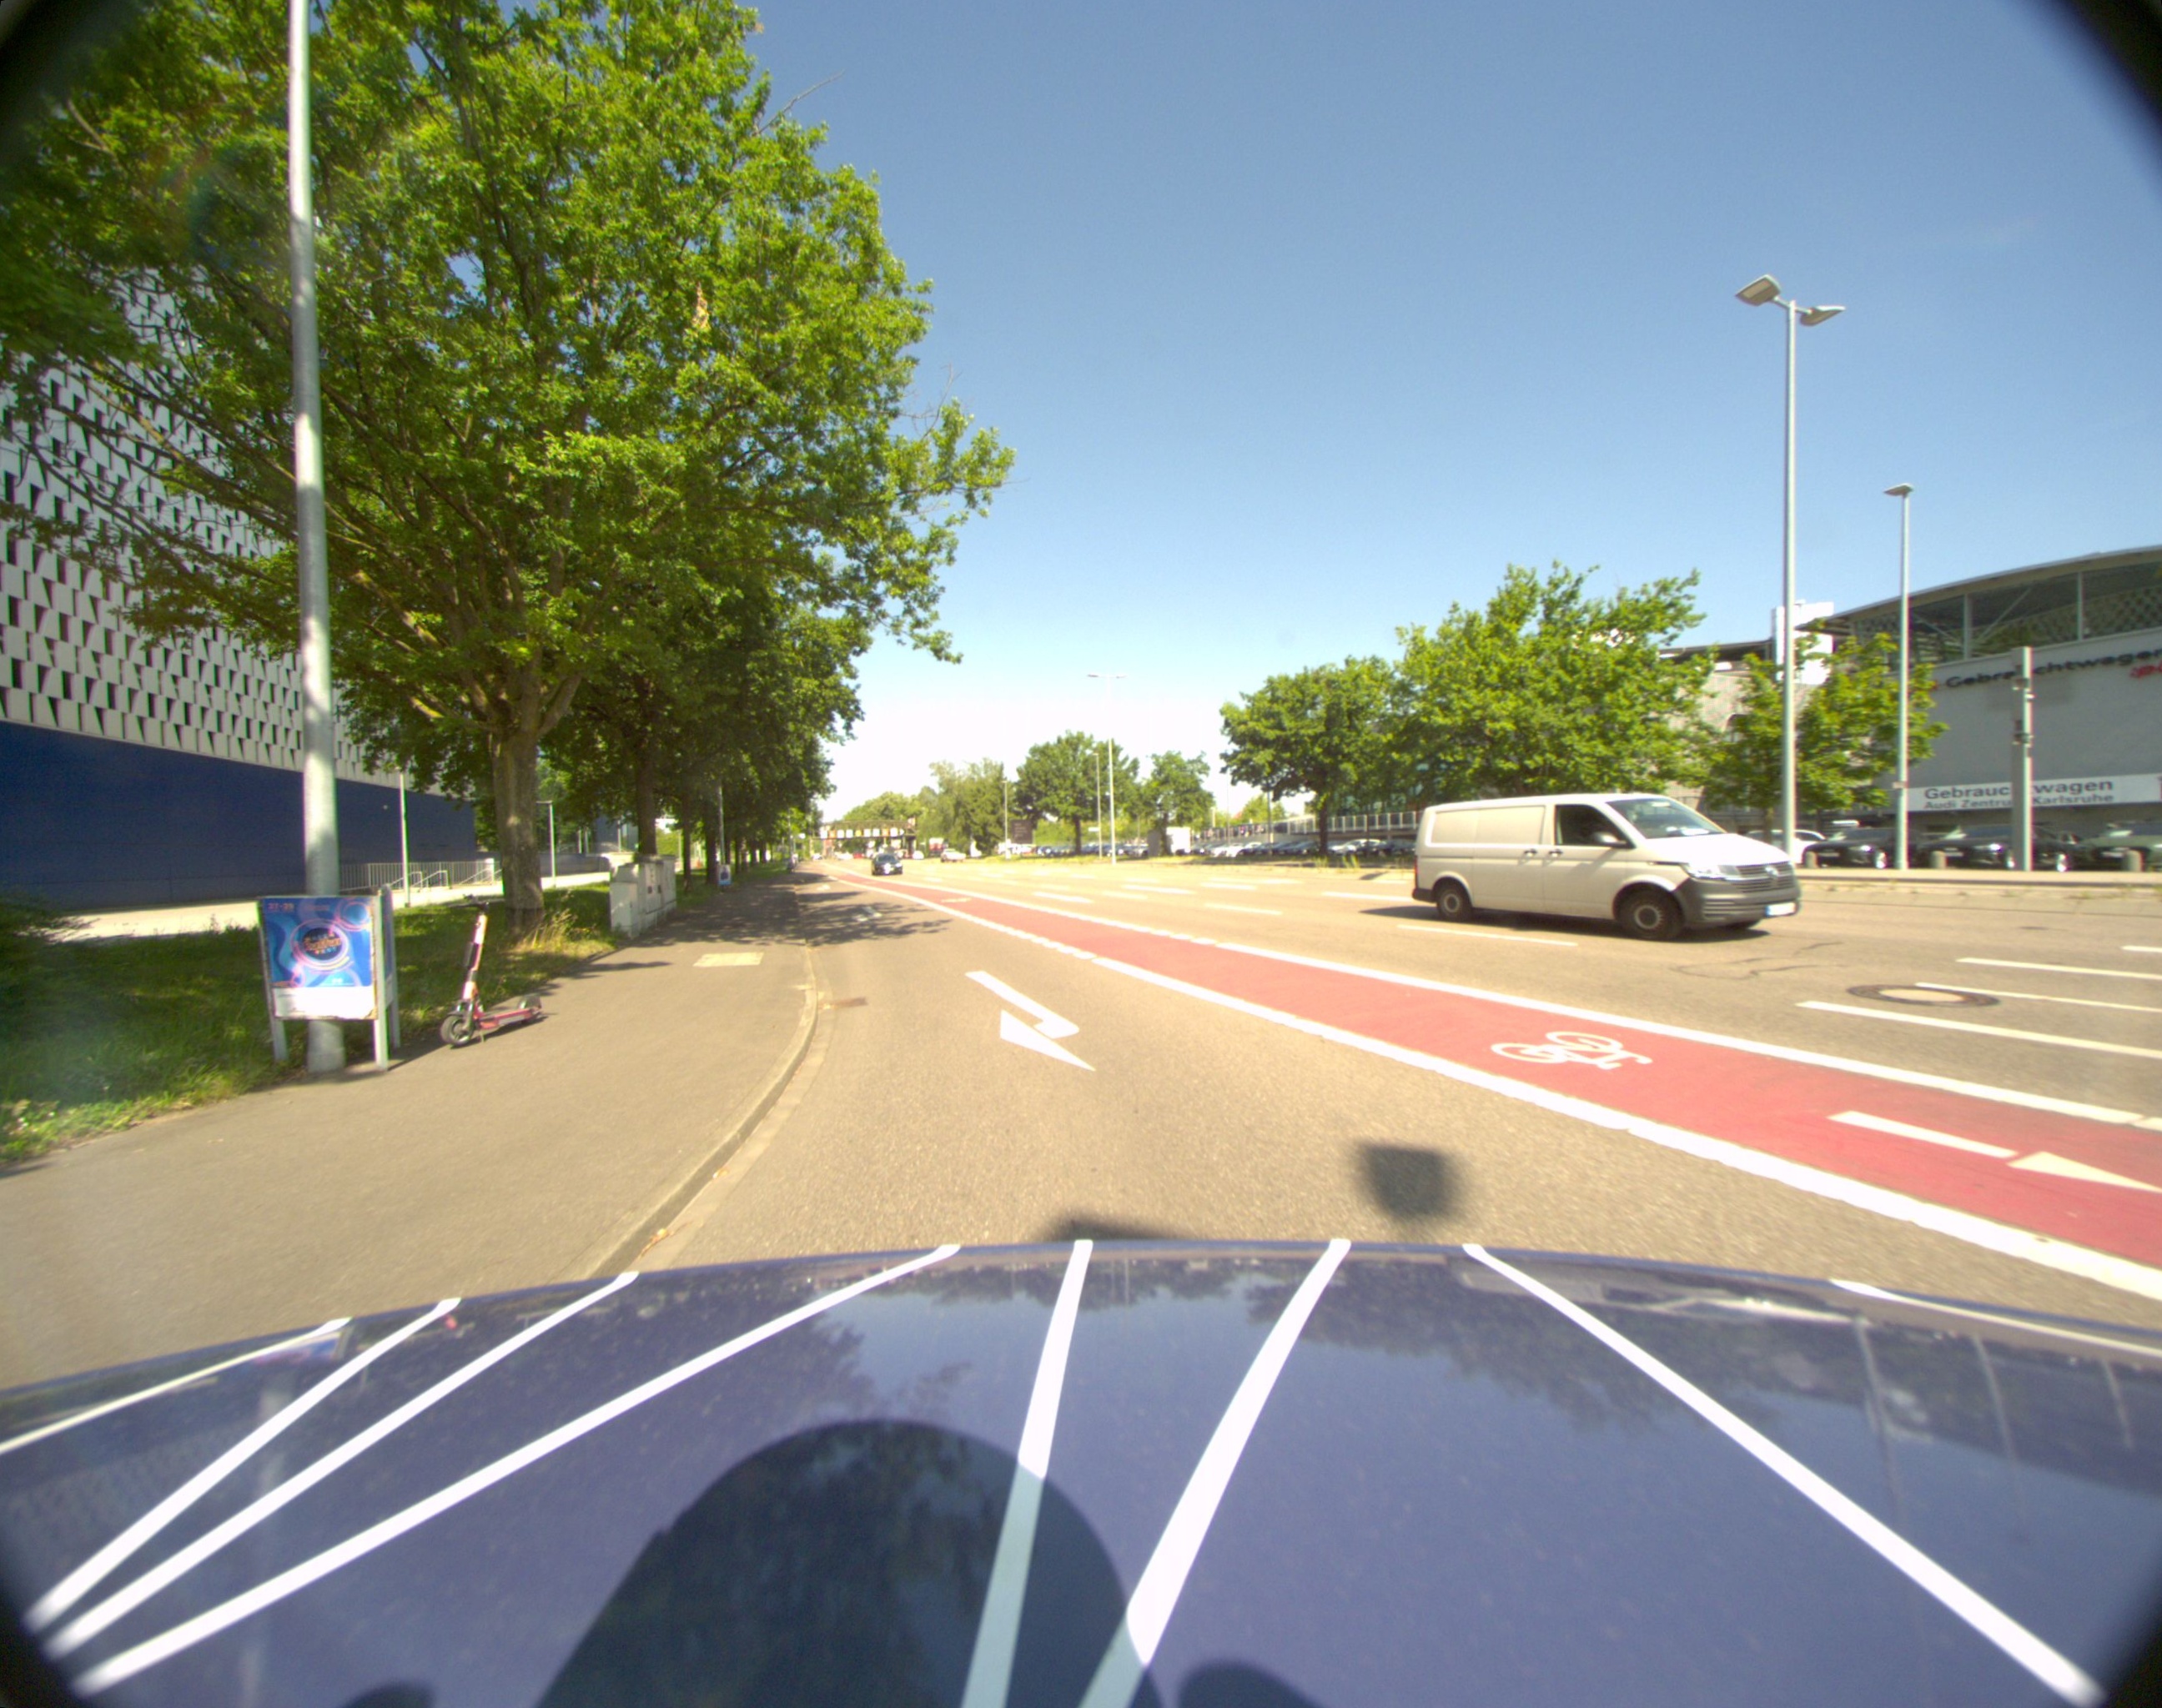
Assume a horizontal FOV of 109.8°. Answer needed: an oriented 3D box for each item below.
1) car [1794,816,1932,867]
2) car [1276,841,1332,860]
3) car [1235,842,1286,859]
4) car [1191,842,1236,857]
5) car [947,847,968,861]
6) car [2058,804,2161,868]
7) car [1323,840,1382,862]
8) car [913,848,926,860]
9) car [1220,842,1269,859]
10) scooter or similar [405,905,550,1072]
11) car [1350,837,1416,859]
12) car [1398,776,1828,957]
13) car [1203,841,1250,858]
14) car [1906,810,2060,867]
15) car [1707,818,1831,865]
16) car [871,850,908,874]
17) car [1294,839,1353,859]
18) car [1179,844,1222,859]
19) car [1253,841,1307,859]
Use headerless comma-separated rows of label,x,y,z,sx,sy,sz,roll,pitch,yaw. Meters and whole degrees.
car,25.538,-0.411,24.819,3.892,1.564,1.783,-1,1,-22
car,15.445,-0.258,52.701,3.419,1.242,1.593,-1,1,-15
car,13.697,-0.285,57.956,3.419,1.242,1.593,-1,1,-15
car,11.347,-0.402,64.977,3.419,1.242,1.593,-1,1,-15
car,-15.698,-0.002,96.611,2.170,1.665,4.507,-2,1,-15
car,27.680,-0.476,19.661,3.892,1.553,1.927,-1,1,-22
car,17.134,-0.218,48.014,3.172,1.317,1.639,-1,1,-15
car,-29.703,-0.032,139.823,2.001,2.002,3.994,-2,1,-17
car,12.941,-0.278,60.161,3.419,1.242,1.593,-1,1,-15
scooter or similar,-5.104,1.074,6.511,0.255,1.175,1.389,-1,1,-7
car,18.171,-0.345,45.708,3.419,1.242,1.593,-1,1,-15
car,7.173,0.107,11.055,1.742,1.996,4.991,-3,1,-21
car,12.023,-0.375,62.696,3.419,1.242,1.593,-1,1,-15
car,26.544,-0.456,22.358,3.892,1.564,1.783,-1,1,-22
car,24.676,-0.454,27.257,3.892,1.564,1.783,-1,1,-22
car,-13.288,0.504,52.506,1.773,1.456,4.230,-4,2,-22
car,16.178,-0.316,50.695,3.419,1.242,1.593,-1,1,-15
car,10.529,-0.245,67.106,3.419,1.242,1.593,-1,1,-15
car,14.489,-0.293,55.295,3.419,1.242,1.593,-1,1,-15
